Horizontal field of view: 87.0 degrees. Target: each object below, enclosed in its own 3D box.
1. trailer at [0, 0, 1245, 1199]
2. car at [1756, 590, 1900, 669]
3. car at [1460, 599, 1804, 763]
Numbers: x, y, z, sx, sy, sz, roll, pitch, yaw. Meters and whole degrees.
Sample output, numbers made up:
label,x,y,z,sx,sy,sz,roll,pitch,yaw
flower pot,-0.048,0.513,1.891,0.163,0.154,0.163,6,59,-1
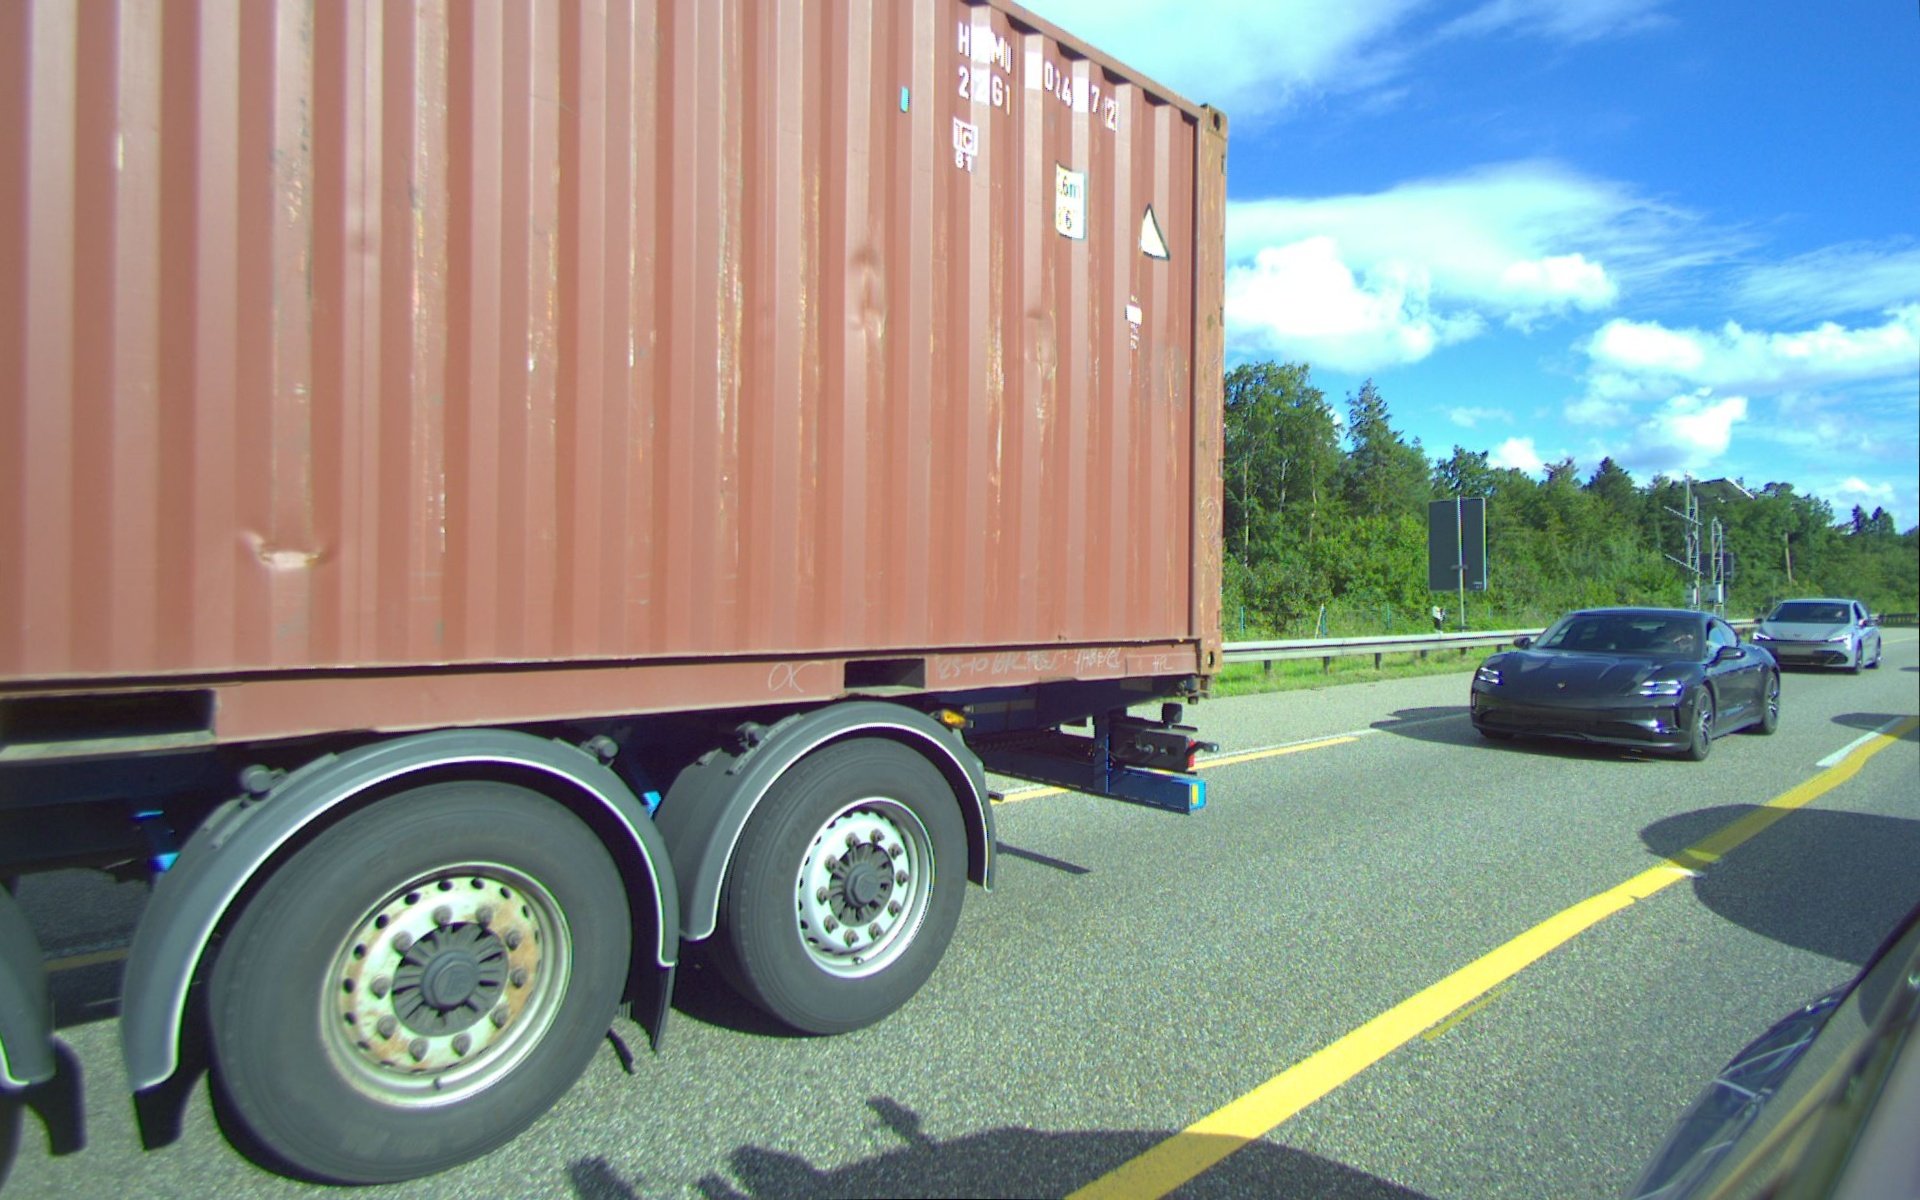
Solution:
label,x,y,z,sx,sy,sz,roll,pitch,yaw
trailer,-3.922,-0.519,1.701,11.926,3.822,2.475,0,0,-42
car,18.581,0.554,21.614,3.898,1.498,1.761,-1,1,-40
car,7.260,0.686,10.754,4.399,1.367,1.932,0,0,-41
